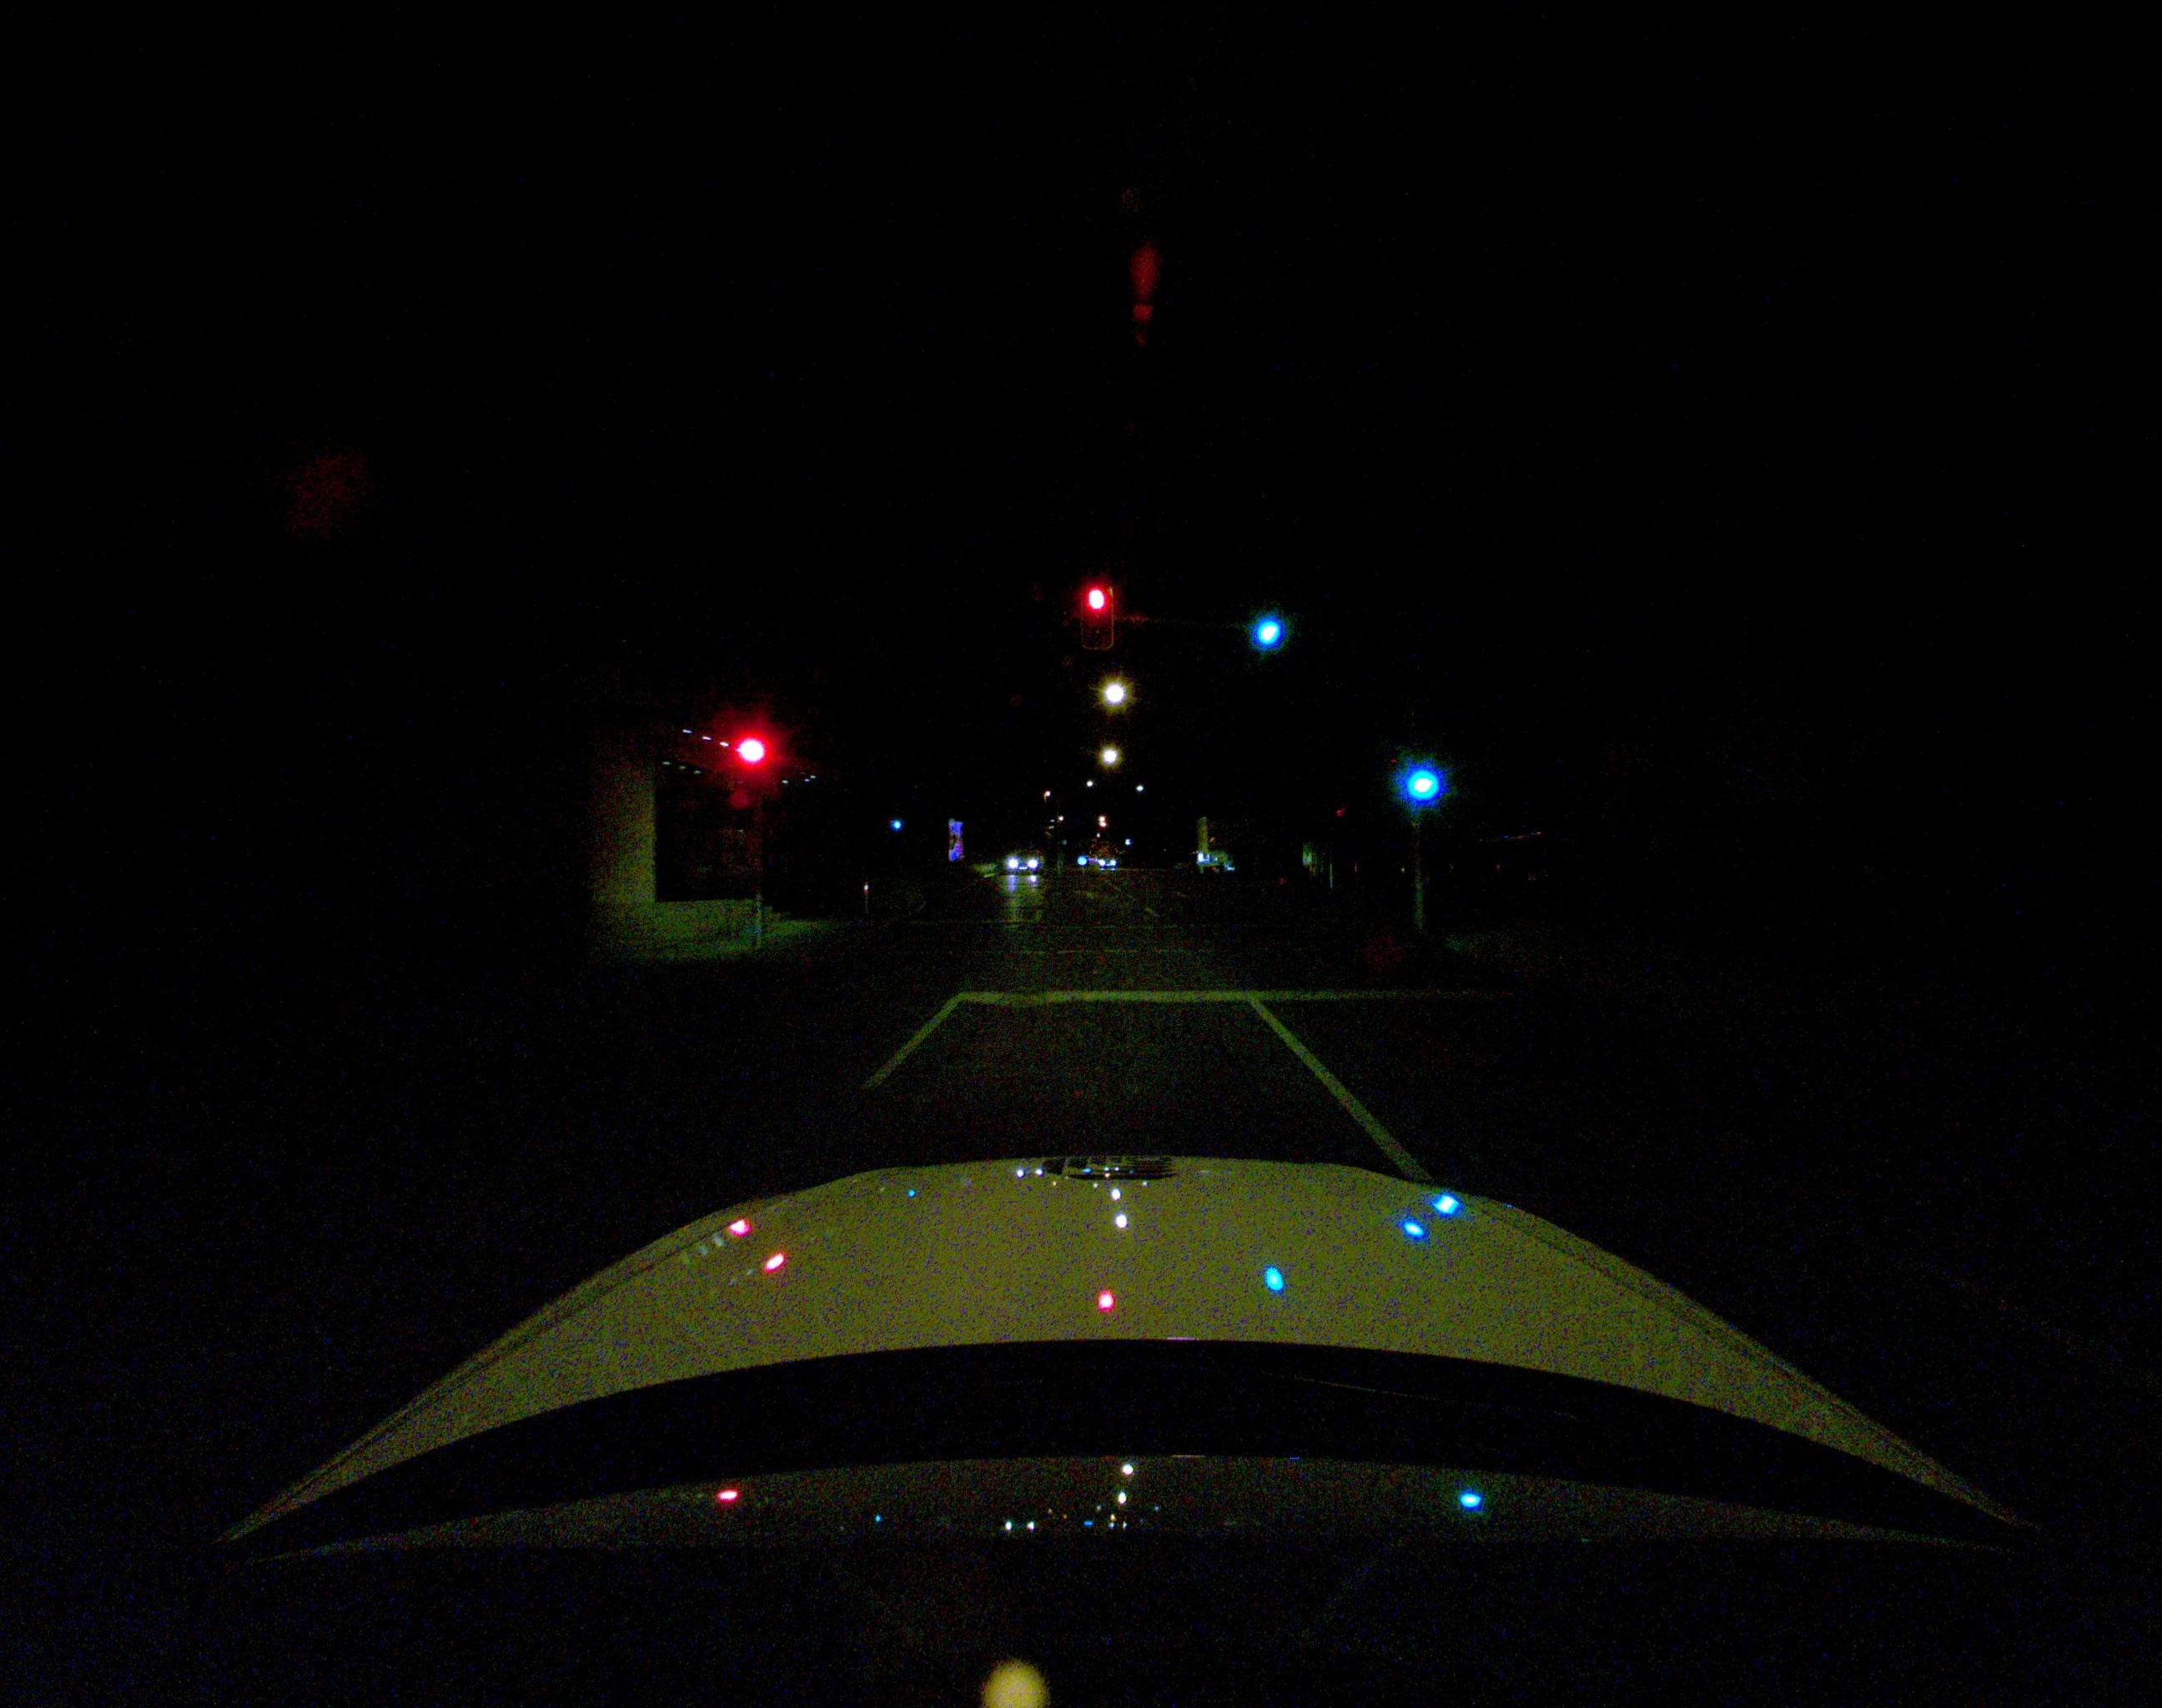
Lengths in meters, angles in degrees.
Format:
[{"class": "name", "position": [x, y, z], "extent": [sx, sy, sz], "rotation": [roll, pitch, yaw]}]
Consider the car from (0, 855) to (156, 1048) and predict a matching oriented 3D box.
[{"class": "car", "position": [-9.779, 0.747, 6.271], "extent": [3.347, 1.451, 1.674], "rotation": [-1, 0, 0]}]

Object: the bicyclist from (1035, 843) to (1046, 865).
[{"class": "bicyclist", "position": [-2.979, 0.012, 59.902], "extent": [0.688, 1.637, 0.896], "rotation": [-1, 0, 1]}]

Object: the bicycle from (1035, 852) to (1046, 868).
[{"class": "bicycle", "position": [-2.977, 0.467, 59.979], "extent": [0.693, 1.149, 1.951], "rotation": [-1, 0, 2]}]

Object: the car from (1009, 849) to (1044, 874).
[{"class": "car", "position": [-3.435, 0.428, 51.650], "extent": [1.850, 1.534, 4.029], "rotation": [0, 0, 1]}]

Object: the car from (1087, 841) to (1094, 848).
[{"class": "car", "position": [2.223, -2.218, 192.233], "extent": [1.809, 1.491, 4.000], "rotation": [0, 0, 0]}]

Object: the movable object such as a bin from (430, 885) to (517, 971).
[{"class": "movable object such as a bin", "position": [-7.859, 0.937, 10.554], "extent": [0.633, 1.049, 0.657], "rotation": [-1, 0, 19]}]

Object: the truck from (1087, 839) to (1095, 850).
[{"class": "truck", "position": [2.715, -2.542, 214.606], "extent": [2.080, 2.848, 5.831], "rotation": [0, 0, 0]}]

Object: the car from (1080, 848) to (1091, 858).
[{"class": "car", "position": [0.764, -0.247, 139.583], "extent": [1.808, 1.684, 4.002], "rotation": [-1, 0, 2]}]

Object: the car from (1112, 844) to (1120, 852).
[{"class": "car", "position": [7.099, -1.232, 164.156], "extent": [1.628, 1.451, 3.486], "rotation": [0, 0, 2]}]

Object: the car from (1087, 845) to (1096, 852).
[{"class": "car", "position": [2.140, -1.096, 165.560], "extent": [1.809, 1.491, 4.000], "rotation": [0, 0, 0]}]

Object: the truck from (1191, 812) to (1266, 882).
[{"class": "truck", "position": [6.975, -0.323, 39.317], "extent": [2.739, 3.110, 6.262], "rotation": [0, 0, 2]}]

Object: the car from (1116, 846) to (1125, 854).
[{"class": "car", "position": [7.156, -0.811, 148.225], "extent": [1.628, 1.451, 3.486], "rotation": [0, 0, 2]}]

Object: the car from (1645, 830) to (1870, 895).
[{"class": "car", "position": [17.382, 0.223, 21.122], "extent": [4.107, 1.280, 1.770], "rotation": [-5, -1, 8]}]

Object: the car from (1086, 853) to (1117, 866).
[{"class": "car", "position": [2.211, 0.596, 88.036], "extent": [1.922, 1.388, 4.554], "rotation": [0, 0, -19]}]
